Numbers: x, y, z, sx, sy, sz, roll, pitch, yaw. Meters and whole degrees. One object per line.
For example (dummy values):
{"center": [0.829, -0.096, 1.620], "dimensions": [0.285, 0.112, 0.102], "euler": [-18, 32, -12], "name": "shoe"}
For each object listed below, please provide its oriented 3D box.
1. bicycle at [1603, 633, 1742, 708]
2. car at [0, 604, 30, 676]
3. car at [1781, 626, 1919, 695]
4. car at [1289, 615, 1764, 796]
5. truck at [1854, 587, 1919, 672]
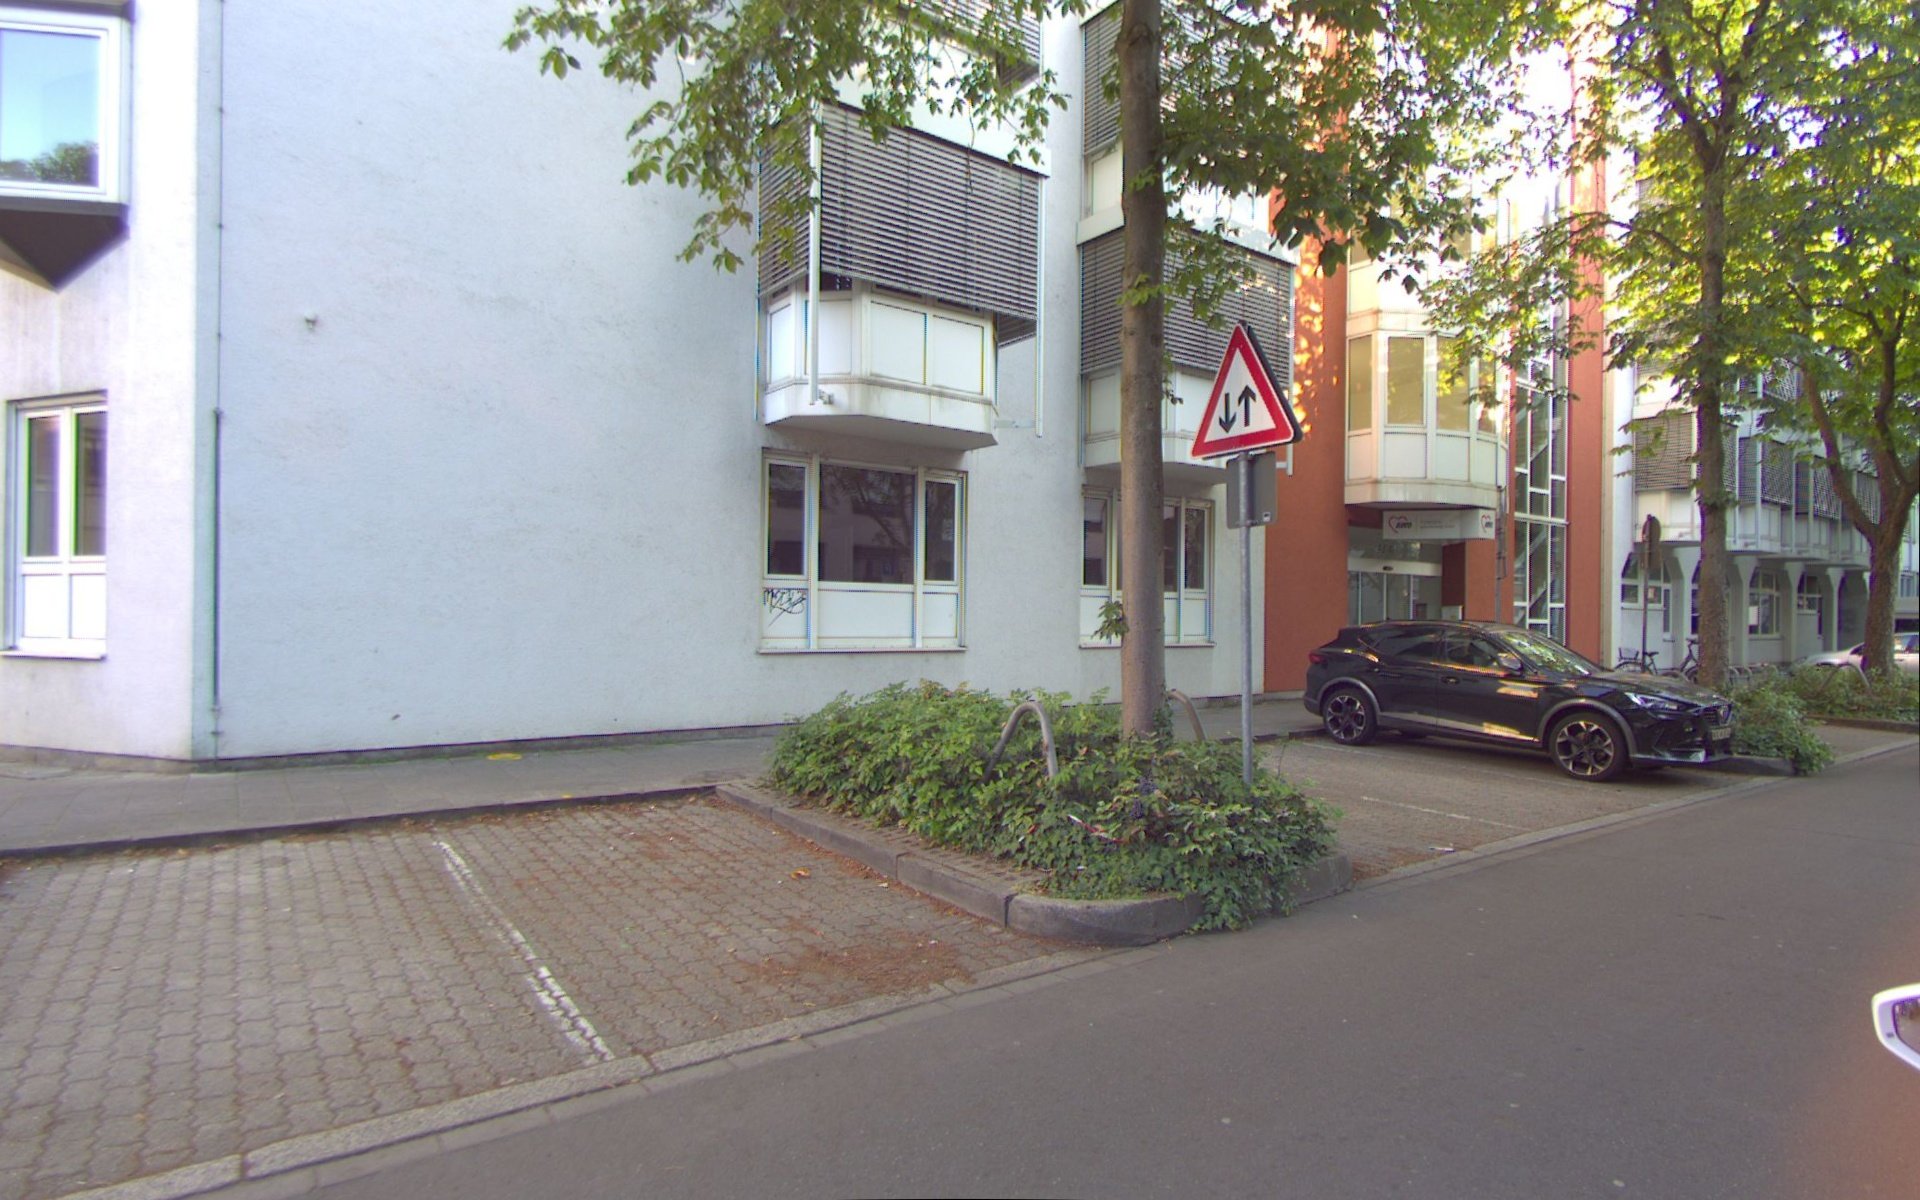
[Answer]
{"center": [12.552, 1.220, 17.735], "dimensions": [1.949, 1.215, 0.499], "euler": [0, -1, 44], "name": "bicycle"}
{"center": [-20.867, 0.830, 19.910], "dimensions": [1.666, 1.534, 4.272], "euler": [0, -1, -14], "name": "car"}
{"center": [22.477, 1.440, 24.030], "dimensions": [1.624, 1.491, 4.103], "euler": [1, 0, -36], "name": "car"}
{"center": [6.124, 0.999, 11.376], "dimensions": [1.817, 1.529, 4.326], "euler": [1, 0, -36], "name": "car"}
{"center": [29.210, 0.869, 28.862], "dimensions": [1.896, 2.474, 4.967], "euler": [0, 1, -34], "name": "truck"}
